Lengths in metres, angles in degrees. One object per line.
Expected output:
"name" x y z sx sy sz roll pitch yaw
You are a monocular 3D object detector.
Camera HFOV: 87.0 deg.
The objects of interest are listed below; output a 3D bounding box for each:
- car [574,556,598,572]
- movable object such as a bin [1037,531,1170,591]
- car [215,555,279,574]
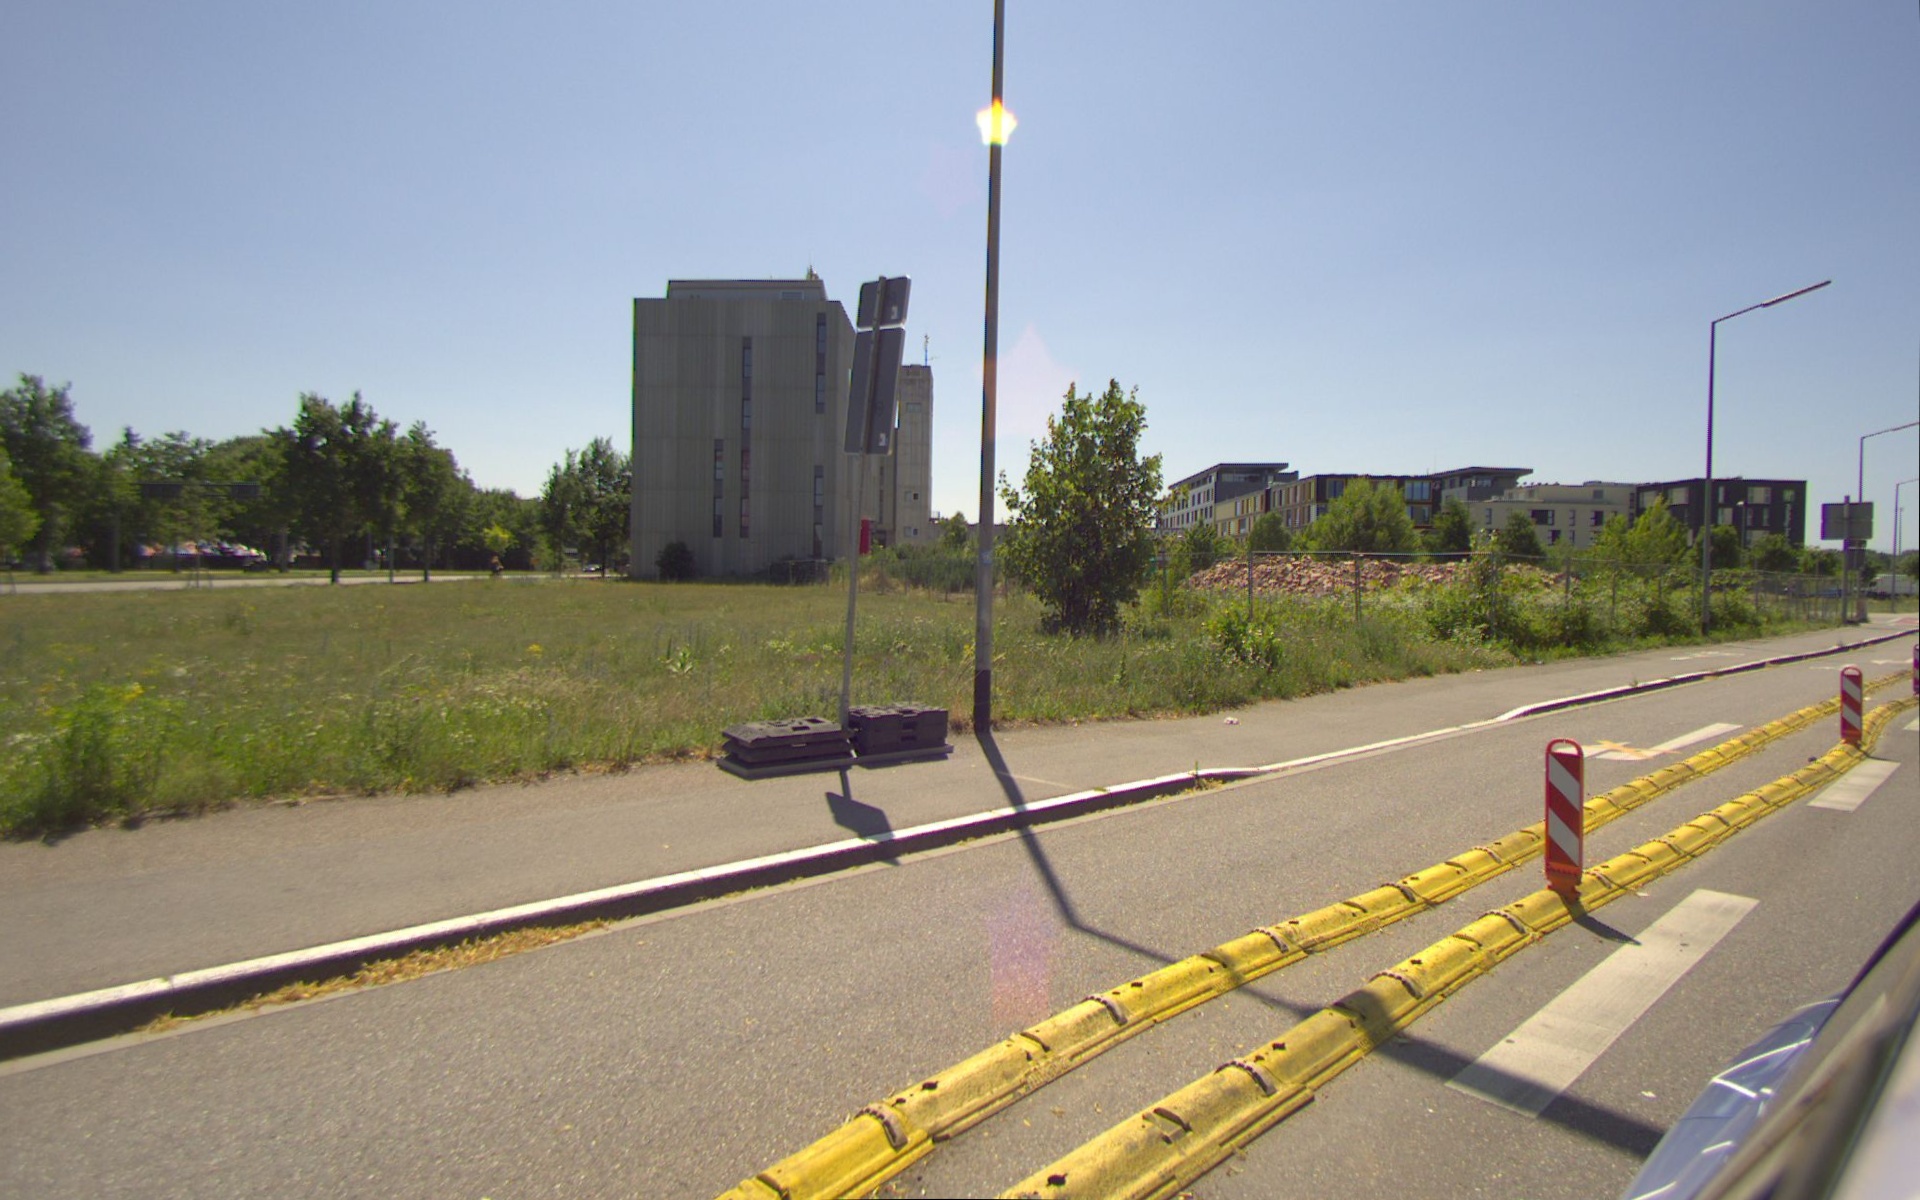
"car" -52.505 -5.044 142.149 1.962 2.039 4.000 -1 1 0
"movable object such as a bin" 8.168 -2.142 57.278 7.459 3.188 2.815 -1 1 -34
"car" -55.041 -2.723 78.218 1.830 1.440 4.407 1 1 1
